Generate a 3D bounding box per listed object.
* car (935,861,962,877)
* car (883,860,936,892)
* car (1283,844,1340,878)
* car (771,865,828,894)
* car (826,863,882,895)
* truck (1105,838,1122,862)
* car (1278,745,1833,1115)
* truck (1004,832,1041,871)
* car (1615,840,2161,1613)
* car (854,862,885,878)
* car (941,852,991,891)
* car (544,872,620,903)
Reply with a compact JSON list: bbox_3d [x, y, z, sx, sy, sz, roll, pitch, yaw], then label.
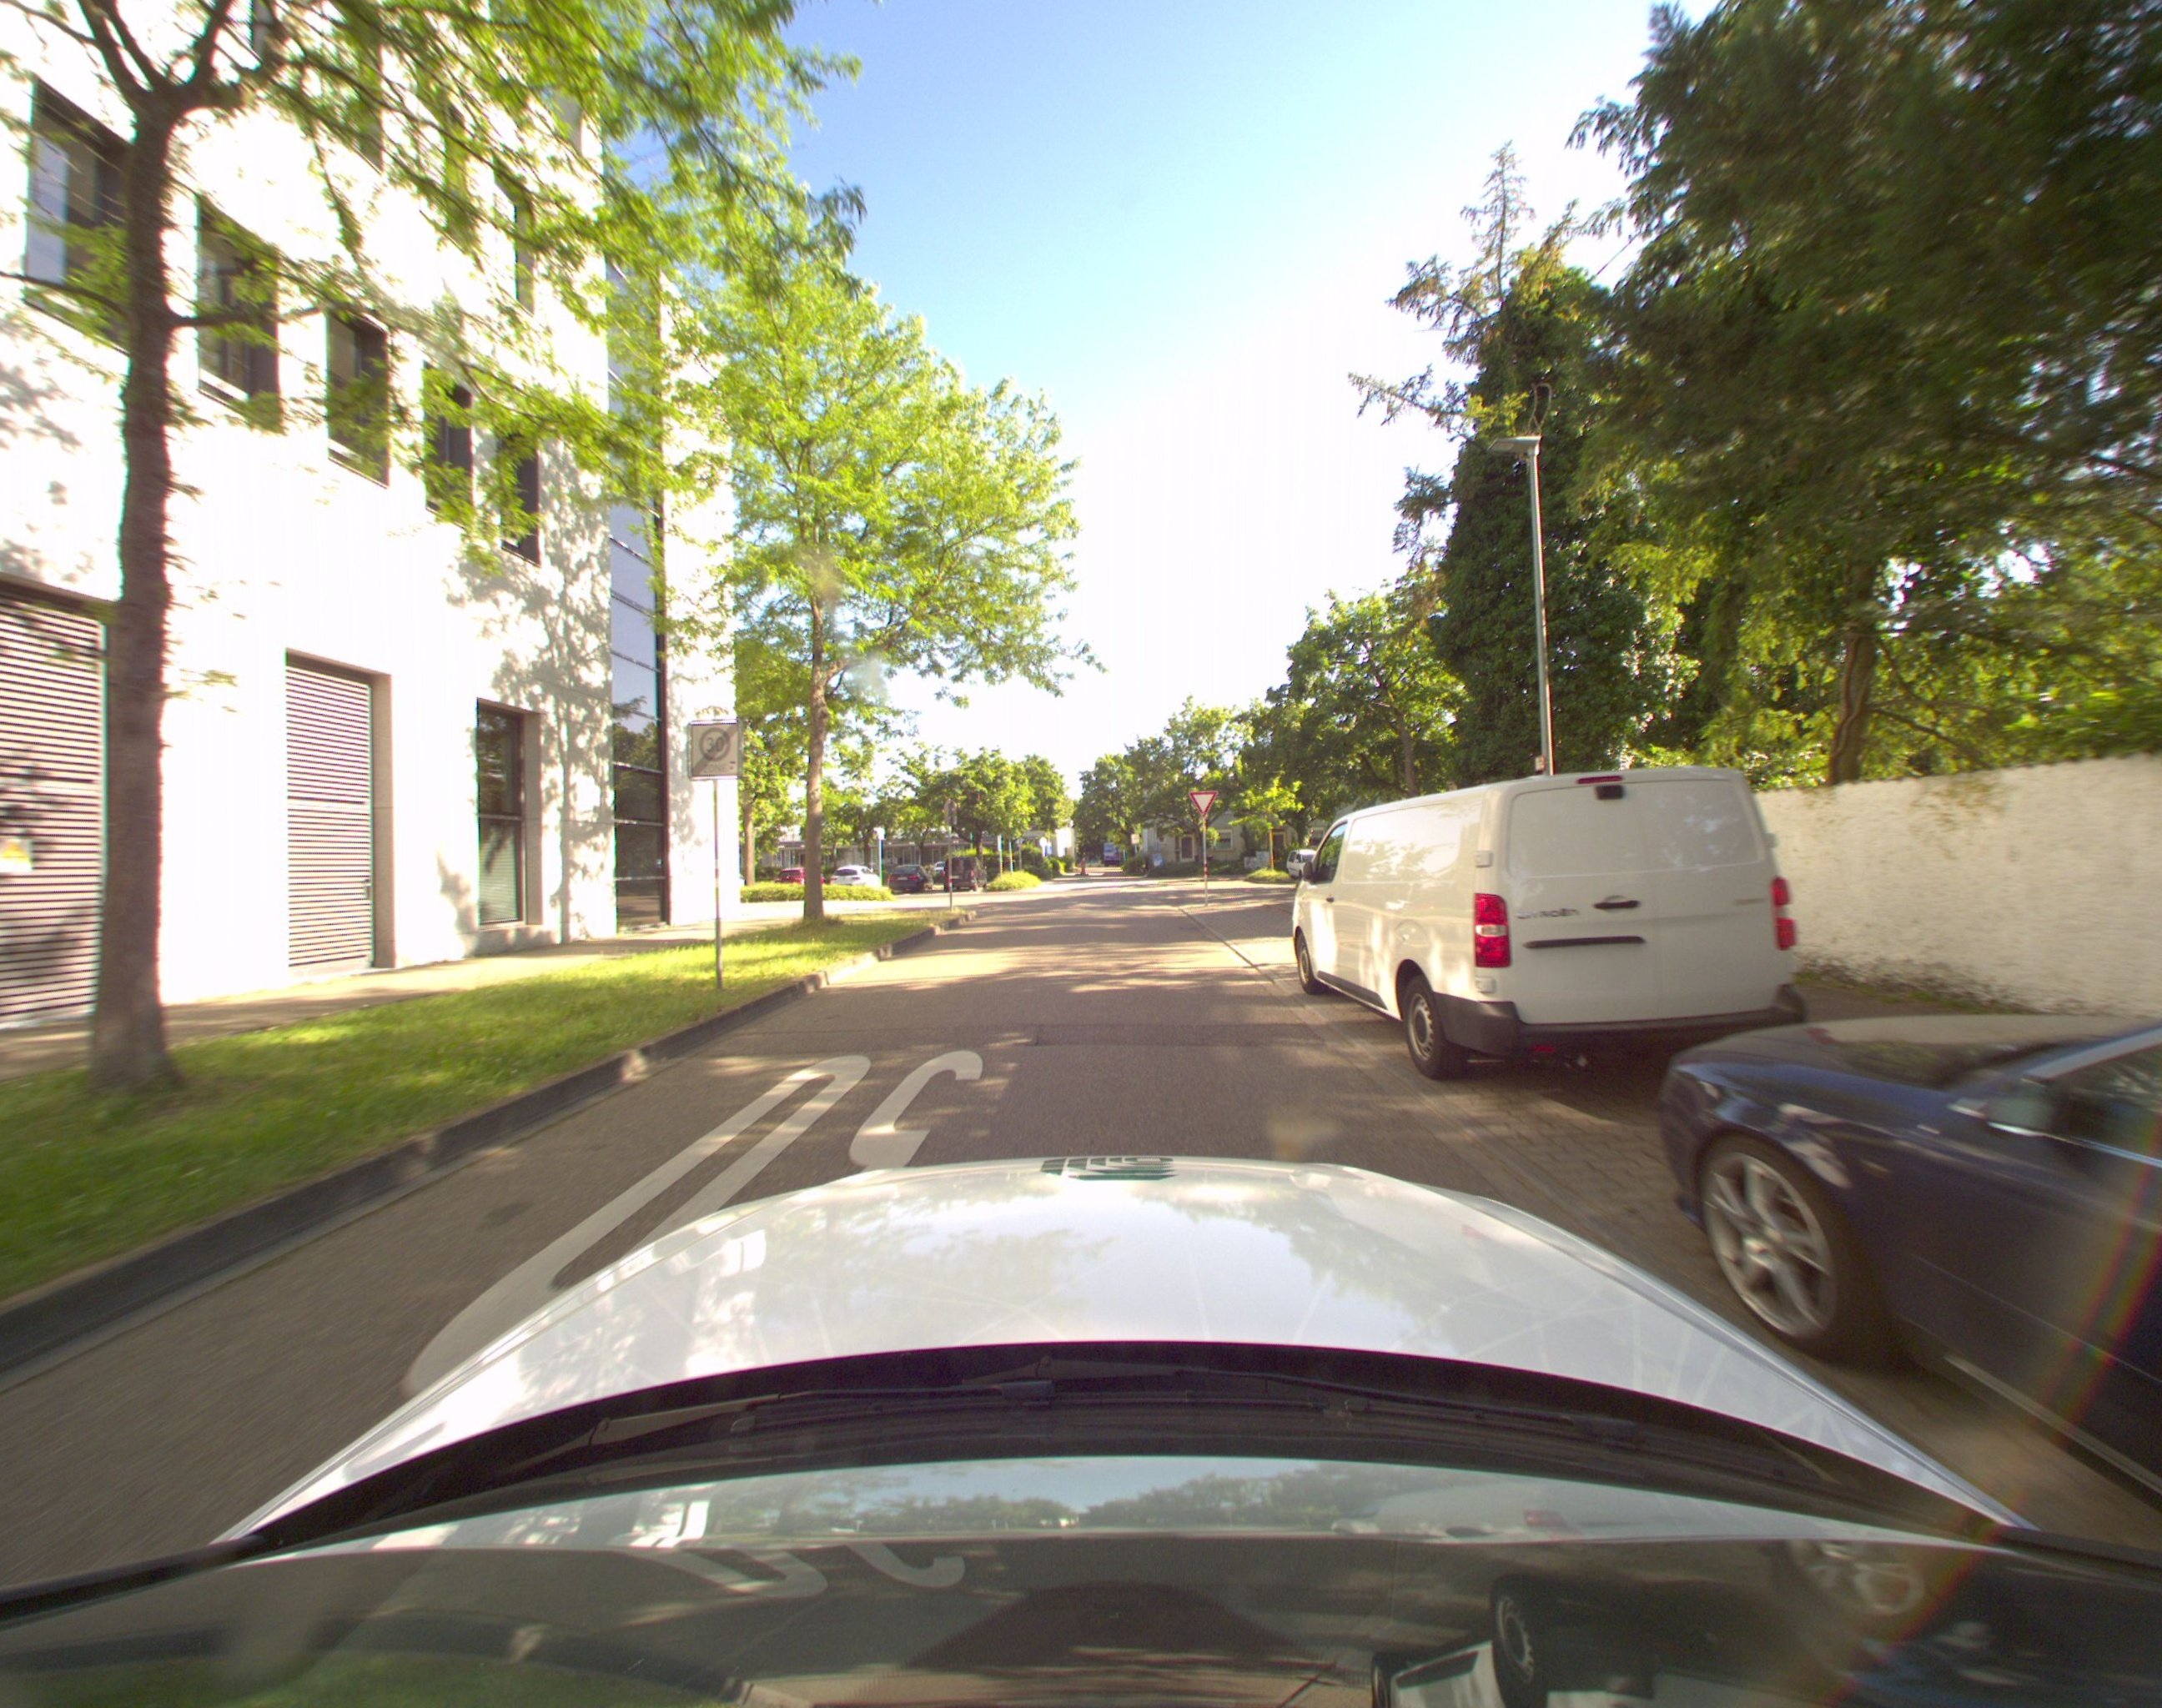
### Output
[{"bbox_3d":[-13.433,1.528,82.708,1.828,1.497,3.912,-2,0,4],"label":"car"},{"bbox_3d":[-9.044,1.128,43.211,1.817,1.406,4.169,-2,1,0],"label":"car"},{"bbox_3d":[12.061,0.317,42.837,1.817,1.598,4.169,-2,1,0],"label":"car"},{"bbox_3d":[-14.958,1.317,43.502,1.661,1.426,3.912,-1,0,0],"label":"car"},{"bbox_3d":[-12.010,1.275,43.295,1.796,1.436,3.912,-1,1,0],"label":"car"},{"bbox_3d":[5.561,-0.730,137.714,2.749,3.869,9.336,-1,0,3],"label":"truck"},{"bbox_3d":[3.165,0.407,6.954,1.890,1.914,5.152,-3,0,3],"label":"car"},{"bbox_3d":[-5.968,-0.263,84.437,2.790,3.806,6.932,-1,0,4],"label":"truck"},{"bbox_3d":[2.925,0.707,1.027,1.818,1.423,4.286,-3,0,3],"label":"car"},{"bbox_3d":[-21.611,1.642,83.230,1.828,1.497,3.912,-2,0,4],"label":"car"},{"bbox_3d":[-6.058,0.877,43.286,1.866,1.846,4.171,-2,1,2],"label":"car"},{"bbox_3d":[-26.717,1.773,43.731,1.610,1.468,3.912,-1,0,0],"label":"car"}]
